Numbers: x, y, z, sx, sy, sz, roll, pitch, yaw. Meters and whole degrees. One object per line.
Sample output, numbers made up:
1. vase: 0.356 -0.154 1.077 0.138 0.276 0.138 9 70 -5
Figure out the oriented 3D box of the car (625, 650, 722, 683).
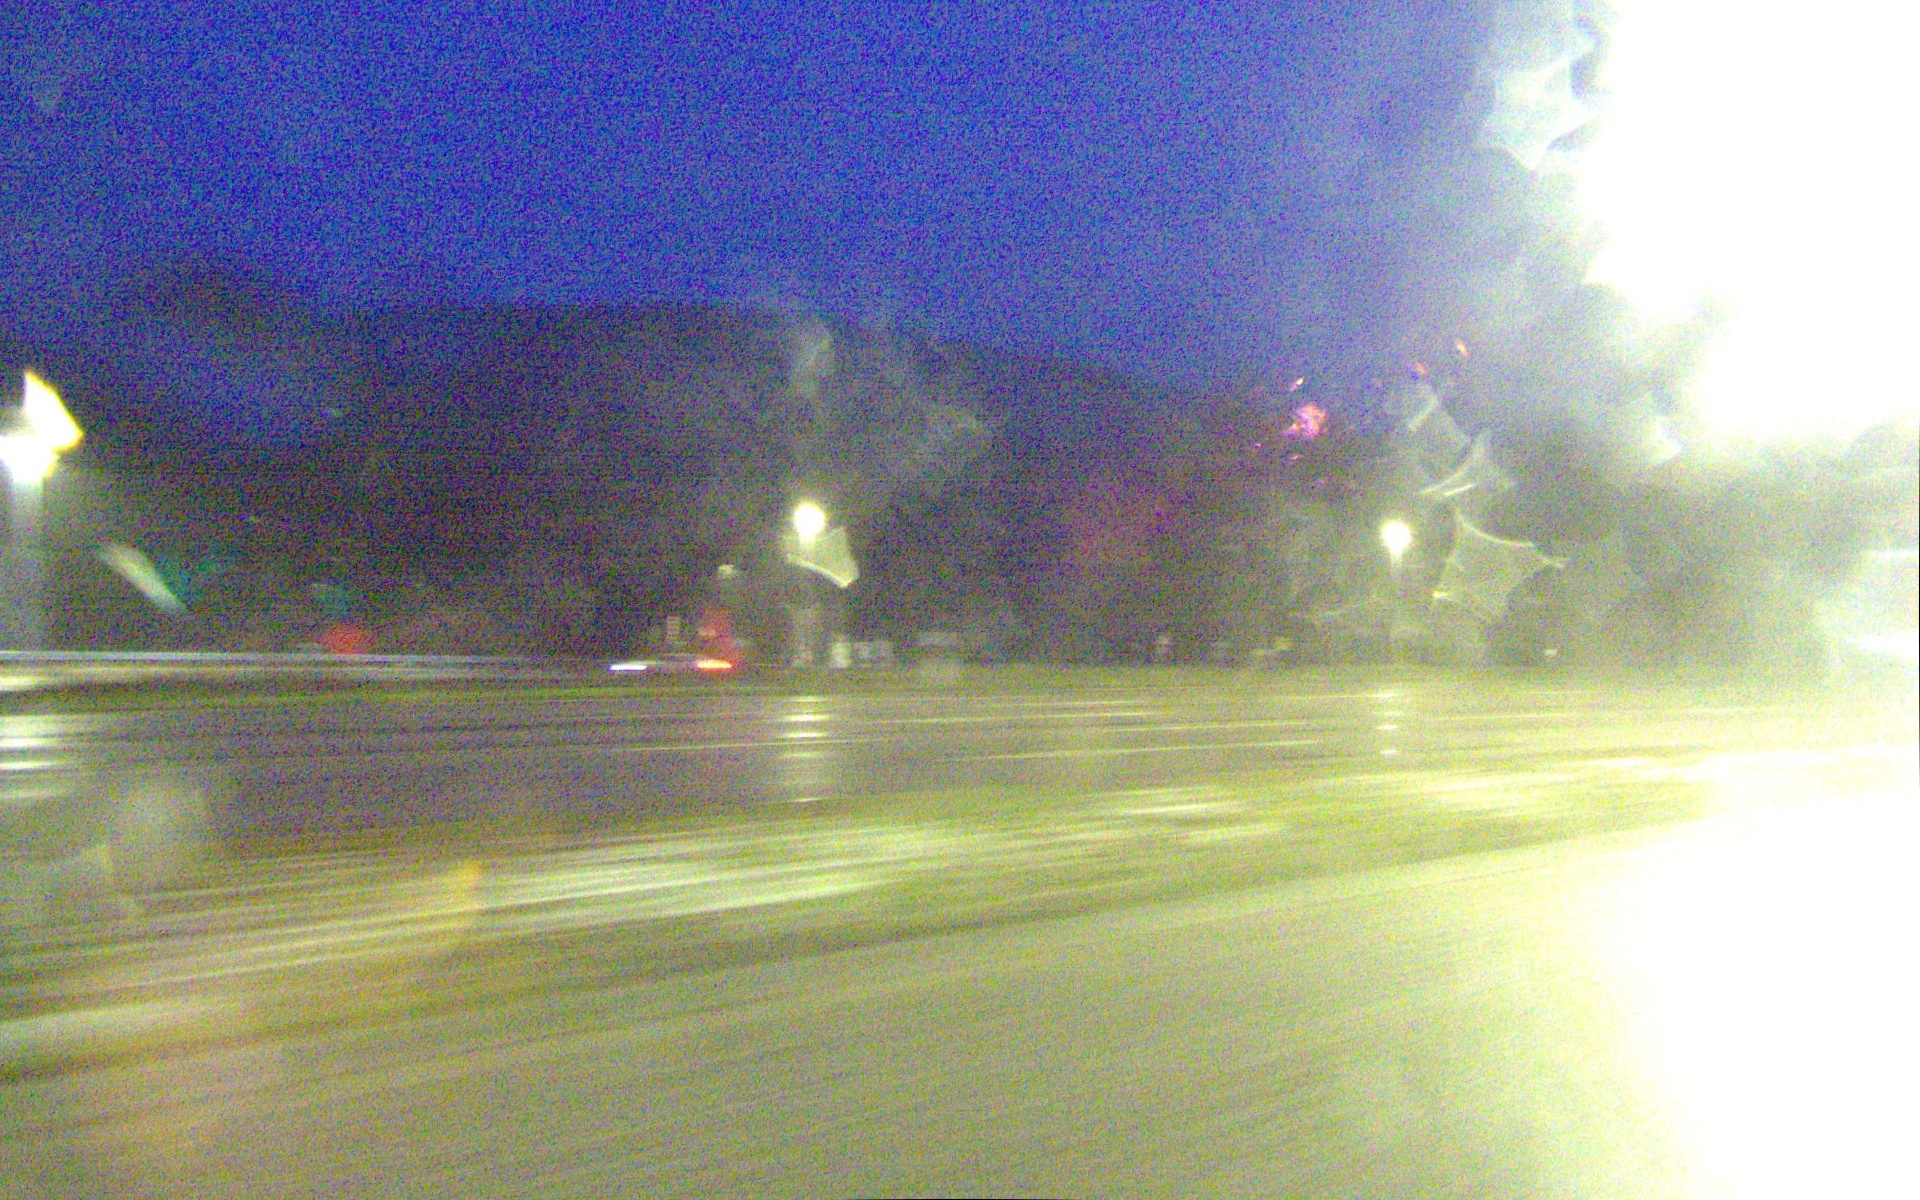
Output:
1. car: -14.166 3.298 49.890 4.476 1.416 1.995 2 -2 -13
